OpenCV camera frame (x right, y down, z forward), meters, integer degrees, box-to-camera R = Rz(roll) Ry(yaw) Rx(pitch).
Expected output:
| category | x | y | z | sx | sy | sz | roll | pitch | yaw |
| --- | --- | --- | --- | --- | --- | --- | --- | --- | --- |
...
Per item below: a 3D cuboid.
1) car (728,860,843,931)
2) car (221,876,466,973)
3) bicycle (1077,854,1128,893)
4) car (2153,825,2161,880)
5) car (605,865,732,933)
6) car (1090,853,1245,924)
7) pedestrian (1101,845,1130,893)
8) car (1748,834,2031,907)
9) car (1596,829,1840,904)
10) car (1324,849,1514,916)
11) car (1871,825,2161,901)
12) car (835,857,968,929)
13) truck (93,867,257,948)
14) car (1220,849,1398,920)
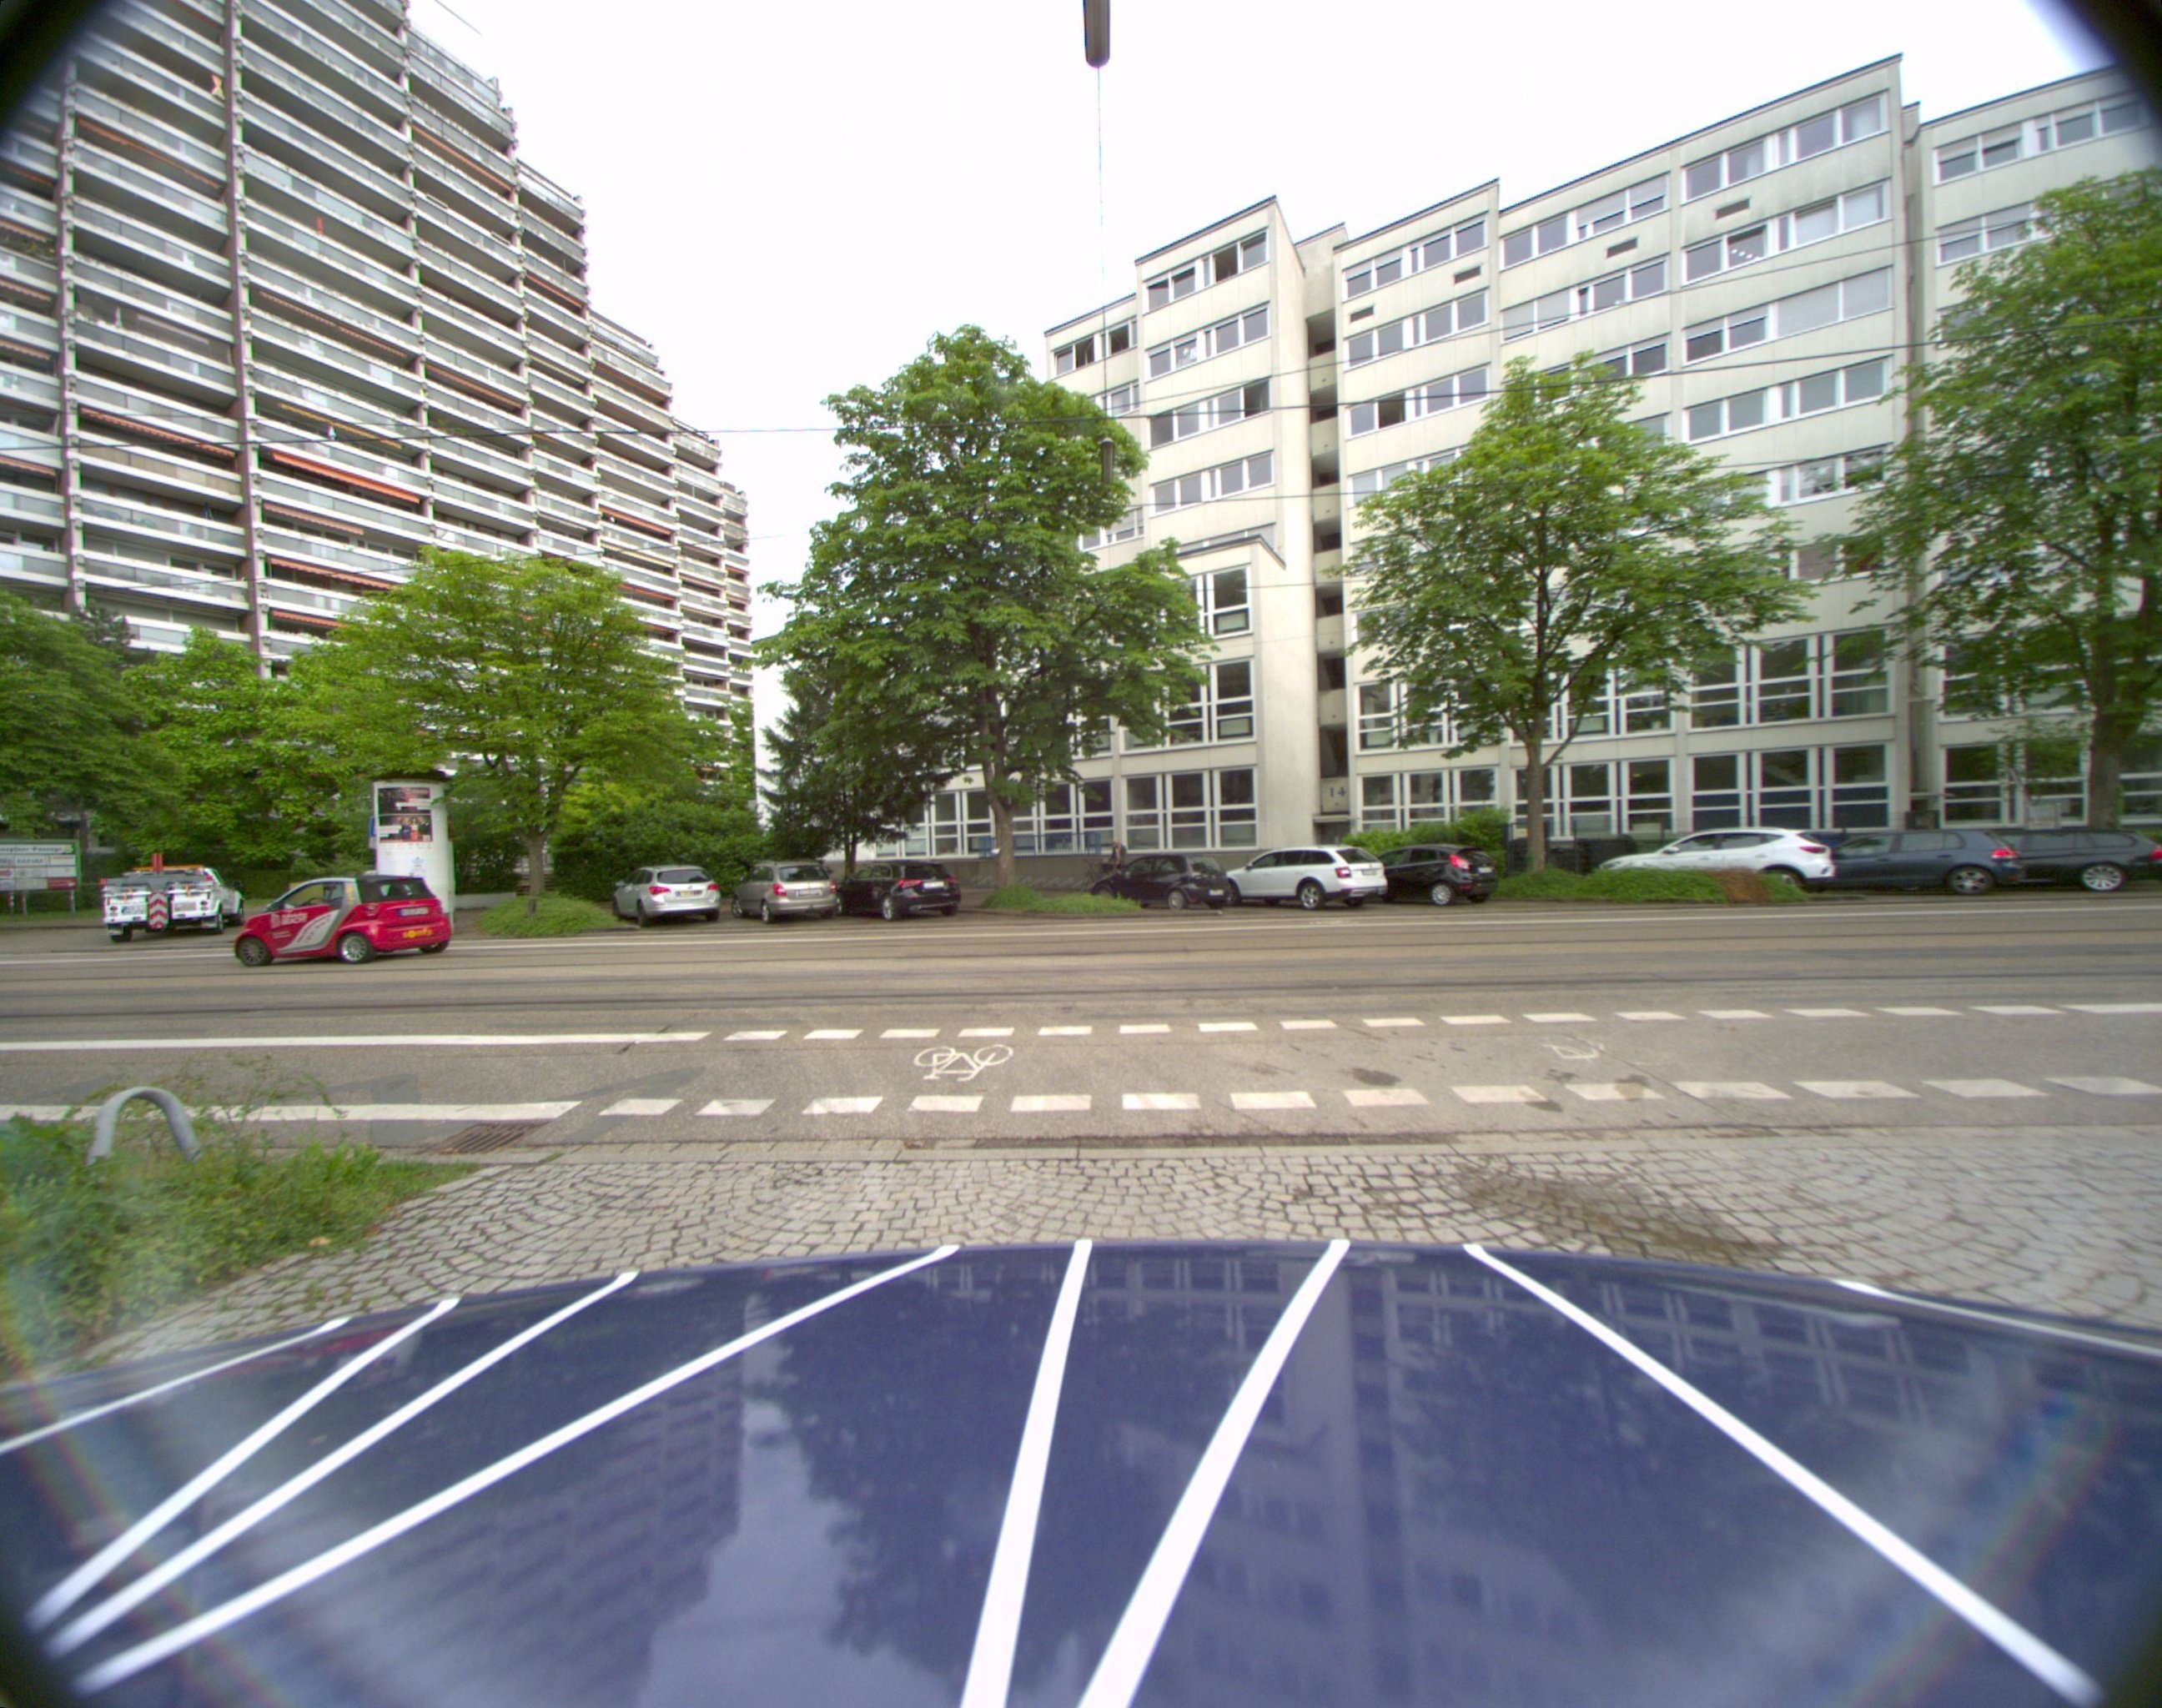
| category | x | y | z | sx | sy | sz | roll | pitch | yaw |
| --- | --- | --- | --- | --- | --- | --- | --- | --- | --- |
| car | -7.592 | 0.969 | 19.374 | 1.575 | 1.515 | 3.641 | -4 | 2 | -40 |
| car | -13.167 | 1.228 | 13.685 | 2.778 | 1.514 | 1.682 | -1 | 2 | 4 |
| bicycle | 0.716 | 0.657 | 25.373 | 1.593 | 1.261 | 0.406 | -2 | 1 | 13 |
| car | 28.109 | -0.035 | 17.386 | 1.703 | 1.344 | 3.957 | -4 | 2 | -41 |
| car | -10.870 | 1.076 | 19.883 | 1.807 | 1.456 | 4.419 | -3 | 2 | -43 |
| car | 2.102 | 0.785 | 19.153 | 1.703 | 1.515 | 3.695 | -4 | 2 | -40 |
| pedestrian | 1.187 | 0.488 | 26.127 | 0.753 | 1.603 | 0.735 | 1 | 3 | 25 |
| car | 18.504 | 0.315 | 17.634 | 1.703 | 1.446 | 4.334 | -4 | 2 | -41 |
| car | 15.138 | 0.242 | 18.229 | 1.703 | 1.547 | 4.334 | -4 | 3 | -44 |
| car | 8.236 | 0.622 | 18.847 | 1.702 | 1.398 | 4.018 | -3 | 2 | -33 |
| car | 21.655 | 0.167 | 17.757 | 1.703 | 1.527 | 4.334 | -4 | 3 | -41 |
| car | -4.569 | 0.895 | 18.983 | 1.703 | 1.515 | 3.695 | -4 | 2 | -40 |
| truck | -24.733 | 1.346 | 20.985 | 2.004 | 1.838 | 5.050 | -3 | 2 | -40 |
| car | 5.483 | 0.662 | 18.717 | 1.702 | 1.476 | 4.018 | -3 | 2 | -33 |
